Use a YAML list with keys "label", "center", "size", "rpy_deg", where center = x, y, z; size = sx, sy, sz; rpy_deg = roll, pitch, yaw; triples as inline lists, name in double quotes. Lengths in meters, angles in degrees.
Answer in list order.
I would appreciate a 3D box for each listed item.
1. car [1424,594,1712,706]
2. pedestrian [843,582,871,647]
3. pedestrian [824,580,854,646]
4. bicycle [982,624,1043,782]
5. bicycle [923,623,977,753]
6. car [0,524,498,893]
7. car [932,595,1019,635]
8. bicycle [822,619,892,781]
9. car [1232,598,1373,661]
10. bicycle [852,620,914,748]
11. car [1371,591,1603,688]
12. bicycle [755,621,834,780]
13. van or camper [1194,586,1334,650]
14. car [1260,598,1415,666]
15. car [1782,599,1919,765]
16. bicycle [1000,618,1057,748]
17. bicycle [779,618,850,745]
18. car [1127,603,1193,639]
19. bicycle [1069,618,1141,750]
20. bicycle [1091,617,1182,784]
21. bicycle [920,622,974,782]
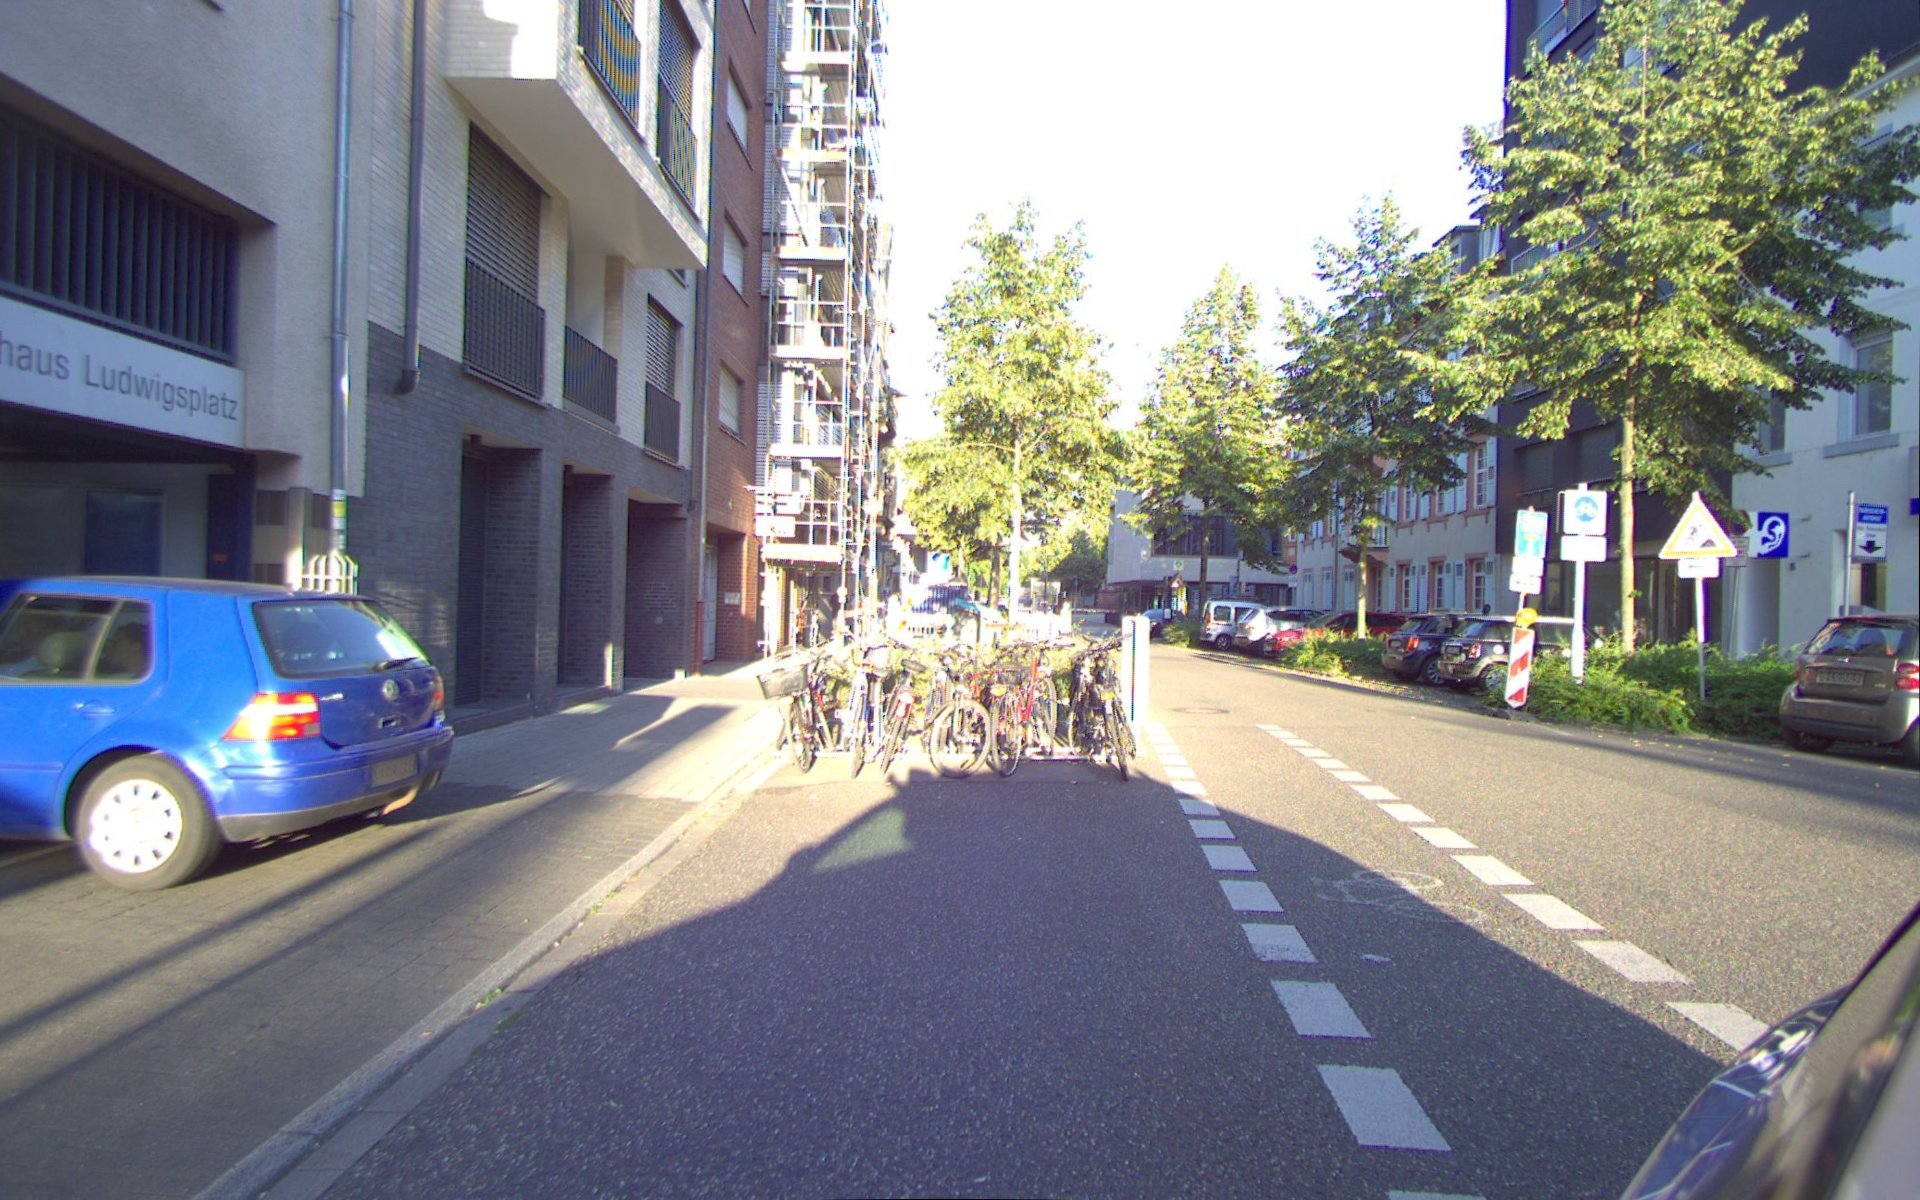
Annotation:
- label: "car"
  center: [10.726, 0.840, 18.067]
  size: [3.932, 1.691, 1.858]
  rpy_deg: [3, 0, -1]
- label: "pedestrian"
  center: [-2.939, 0.408, 28.947]
  size: [0.729, 1.806, 0.656]
  rpy_deg: [1, -1, 0]
- label: "pedestrian"
  center: [-3.375, 0.365, 28.249]
  size: [0.730, 1.806, 0.656]
  rpy_deg: [1, -1, 2]
- label: "bicycle"
  center: [0.467, 0.808, 8.562]
  size: [0.411, 1.171, 1.549]
  rpy_deg: [2, 0, 6]
- label: "bicycle"
  center: [-0.079, 0.838, 10.219]
  size: [0.479, 1.164, 1.551]
  rpy_deg: [2, 0, 1]
- label: "car"
  center: [-4.933, 0.411, 5.479]
  size: [4.042, 1.583, 1.693]
  rpy_deg: [3, 0, 2]
- label: "car"
  center: [0.754, 0.680, 47.100]
  size: [3.928, 1.705, 1.889]
  rpy_deg: [2, 0, 4]
- label: "bicycle"
  center: [-0.842, 0.781, 8.548]
  size: [0.380, 1.204, 1.551]
  rpy_deg: [2, 0, 1]
- label: "car"
  center: [10.528, 0.875, 31.299]
  size: [3.627, 1.691, 1.858]
  rpy_deg: [3, 0, -1]
- label: "bicycle"
  center: [-0.765, 0.809, 10.352]
  size: [0.460, 1.158, 1.551]
  rpy_deg: [2, 0, 1]
- label: "car"
  center: [10.587, 0.763, 20.525]
  size: [3.627, 1.691, 1.858]
  rpy_deg: [3, 0, -1]
- label: "bicycle"
  center: [-1.375, 0.797, 8.588]
  size: [0.381, 1.198, 1.405]
  rpy_deg: [2, 0, 1]
- label: "van or camper"
  center: [10.900, 0.629, 36.477]
  size: [4.369, 2.031, 1.858]
  rpy_deg: [3, 0, -1]
- label: "car"
  center: [10.664, 0.875, 28.775]
  size: [3.627, 1.691, 1.858]
  rpy_deg: [3, 0, -1]
- label: "car"
  center: [10.872, 0.837, 10.507]
  size: [3.414, 1.595, 1.508]
  rpy_deg: [2, 0, -1]
- label: "bicycle"
  center: [0.678, 0.796, 10.334]
  size: [0.479, 1.178, 1.551]
  rpy_deg: [2, 0, 1]
- label: "bicycle"
  center: [-1.455, 0.783, 10.320]
  size: [0.450, 1.146, 1.551]
  rpy_deg: [2, 0, 1]
- label: "car"
  center: [9.752, 1.015, 49.203]
  size: [1.846, 1.588, 3.651]
  rpy_deg: [3, 0, 34]
- label: "bicycle"
  center: [1.452, 0.805, 10.322]
  size: [0.499, 1.193, 1.551]
  rpy_deg: [2, 0, 1]
- label: "bicycle"
  center: [1.458, 0.787, 8.548]
  size: [0.489, 1.236, 1.551]
  rpy_deg: [2, 0, 1]
- label: "bicycle"
  center: [-0.091, 0.795, 8.513]
  size: [0.375, 1.174, 1.551]
  rpy_deg: [2, 0, 1]
